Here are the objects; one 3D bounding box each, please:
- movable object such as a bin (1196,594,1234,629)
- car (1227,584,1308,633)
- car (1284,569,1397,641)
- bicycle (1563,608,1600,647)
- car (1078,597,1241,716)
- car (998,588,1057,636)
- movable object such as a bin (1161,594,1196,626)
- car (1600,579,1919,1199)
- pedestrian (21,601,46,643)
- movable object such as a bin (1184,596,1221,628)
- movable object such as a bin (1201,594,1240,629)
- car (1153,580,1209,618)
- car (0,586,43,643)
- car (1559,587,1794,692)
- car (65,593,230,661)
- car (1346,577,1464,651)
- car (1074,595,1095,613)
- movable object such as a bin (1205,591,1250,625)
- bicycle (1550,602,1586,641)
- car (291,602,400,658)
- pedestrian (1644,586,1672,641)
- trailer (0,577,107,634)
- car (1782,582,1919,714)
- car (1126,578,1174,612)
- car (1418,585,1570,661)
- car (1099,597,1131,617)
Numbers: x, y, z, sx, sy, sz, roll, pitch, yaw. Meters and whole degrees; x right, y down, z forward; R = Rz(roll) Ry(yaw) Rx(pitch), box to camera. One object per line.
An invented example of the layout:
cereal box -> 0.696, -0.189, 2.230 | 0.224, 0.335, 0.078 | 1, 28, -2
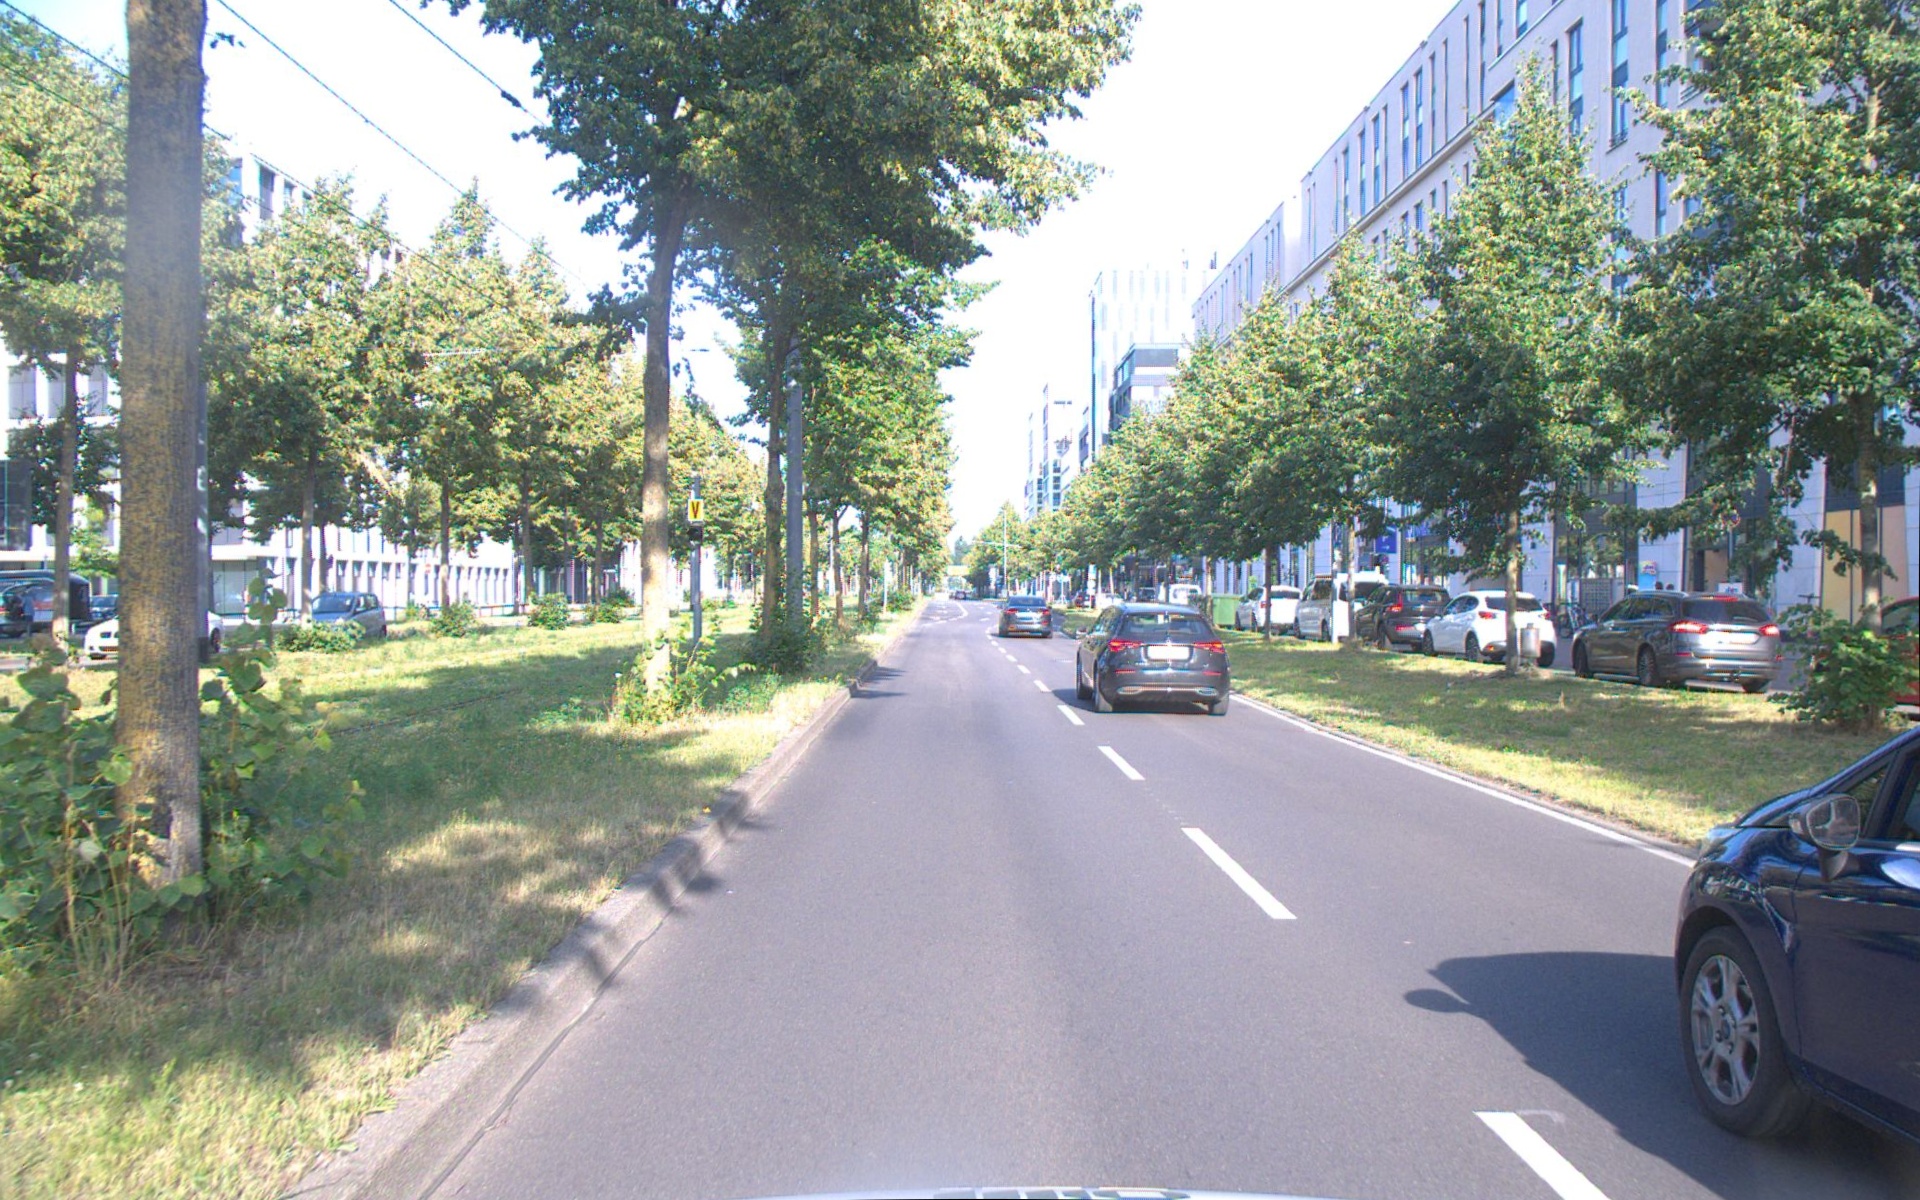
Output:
movable object such as a bin -> 10.230, 0.470, 66.384 | 1.252, 1.341, 1.190 | 2, 0, -4
car -> 10.694, 0.273, 57.834 | 1.696, 1.658, 4.847 | 0, 0, -3
car -> 10.846, 0.139, 47.524 | 1.801, 1.909, 5.028 | 2, 0, -3
bicycle -> 18.114, 0.797, 48.234 | 0.337, 1.100, 1.742 | -3, 0, 0
car -> 2.670, 0.729, 22.952 | 1.738, 1.449, 3.960 | 2, 0, 0
car -> 2.330, 0.423, 57.642 | 1.822, 1.551, 3.785 | 2, 0, -1
movable object such as a bin -> 9.288, 0.408, 70.368 | 1.252, 1.314, 1.177 | 2, 0, -4
car -> 2.976, 0.698, 3.651 | 1.528, 1.449, 3.906 | 2, 0, -1
pedestrian -> -33.079, 0.781, 59.055 | 0.511, 1.506, 0.568 | 2, -1, -2
movable object such as a bin -> 9.919, 0.484, 67.722 | 1.252, 1.258, 1.190 | 2, 0, -4
movable object such as a bin -> 10.233, 0.451, 65.035 | 1.252, 1.325, 1.190 | 2, 0, -4
car -> 10.539, -0.042, 79.130 | 1.791, 1.741, 4.293 | 2, 0, -3
car -> -35.131, 0.472, 58.870 | 3.911, 1.981, 1.757 | 2, 0, 0
car -> 11.177, 0.578, 26.192 | 1.693, 1.457, 4.722 | 2, 0, 0
car -> -19.776, 0.636, 40.500 | 1.648, 1.502, 4.812 | -2, 0, -1
car -> 10.897, 0.348, 40.790 | 1.693, 1.679, 4.339 | 2, 0, 0
car -> 10.007, 0.358, 133.143 | 1.573, 1.394, 4.159 | 2, 0, 4
movable object such as a bin -> 10.283, 0.314, 63.485 | 1.371, 1.258, 1.334 | 2, -1, 26
bicycle -> 17.702, 0.618, 48.176 | 0.337, 1.100, 1.732 | -3, 0, 0
car -> -16.493, 0.785, 44.538 | 1.551, 1.417, 3.696 | 2, 0, -1
pedestrian -> 20.081, 0.379, 47.600 | 0.583, 1.548, 0.515 | 2, -1, 4
trailer -> -35.827, 0.208, 64.410 | 4.273, 2.090, 1.758 | 2, 0, 2
car -> 11.439, 0.562, 19.048 | 1.694, 1.457, 4.111 | 2, 0, -3
car -> 10.446, -0.289, 91.294 | 1.859, 1.738, 4.676 | 2, 1, -2
car -> 11.034, 0.461, 34.445 | 1.584, 1.437, 4.165 | 2, 0, -3
car -> 10.479, 0.483, 111.991 | 1.674, 1.264, 3.904 | 2, 0, -2
